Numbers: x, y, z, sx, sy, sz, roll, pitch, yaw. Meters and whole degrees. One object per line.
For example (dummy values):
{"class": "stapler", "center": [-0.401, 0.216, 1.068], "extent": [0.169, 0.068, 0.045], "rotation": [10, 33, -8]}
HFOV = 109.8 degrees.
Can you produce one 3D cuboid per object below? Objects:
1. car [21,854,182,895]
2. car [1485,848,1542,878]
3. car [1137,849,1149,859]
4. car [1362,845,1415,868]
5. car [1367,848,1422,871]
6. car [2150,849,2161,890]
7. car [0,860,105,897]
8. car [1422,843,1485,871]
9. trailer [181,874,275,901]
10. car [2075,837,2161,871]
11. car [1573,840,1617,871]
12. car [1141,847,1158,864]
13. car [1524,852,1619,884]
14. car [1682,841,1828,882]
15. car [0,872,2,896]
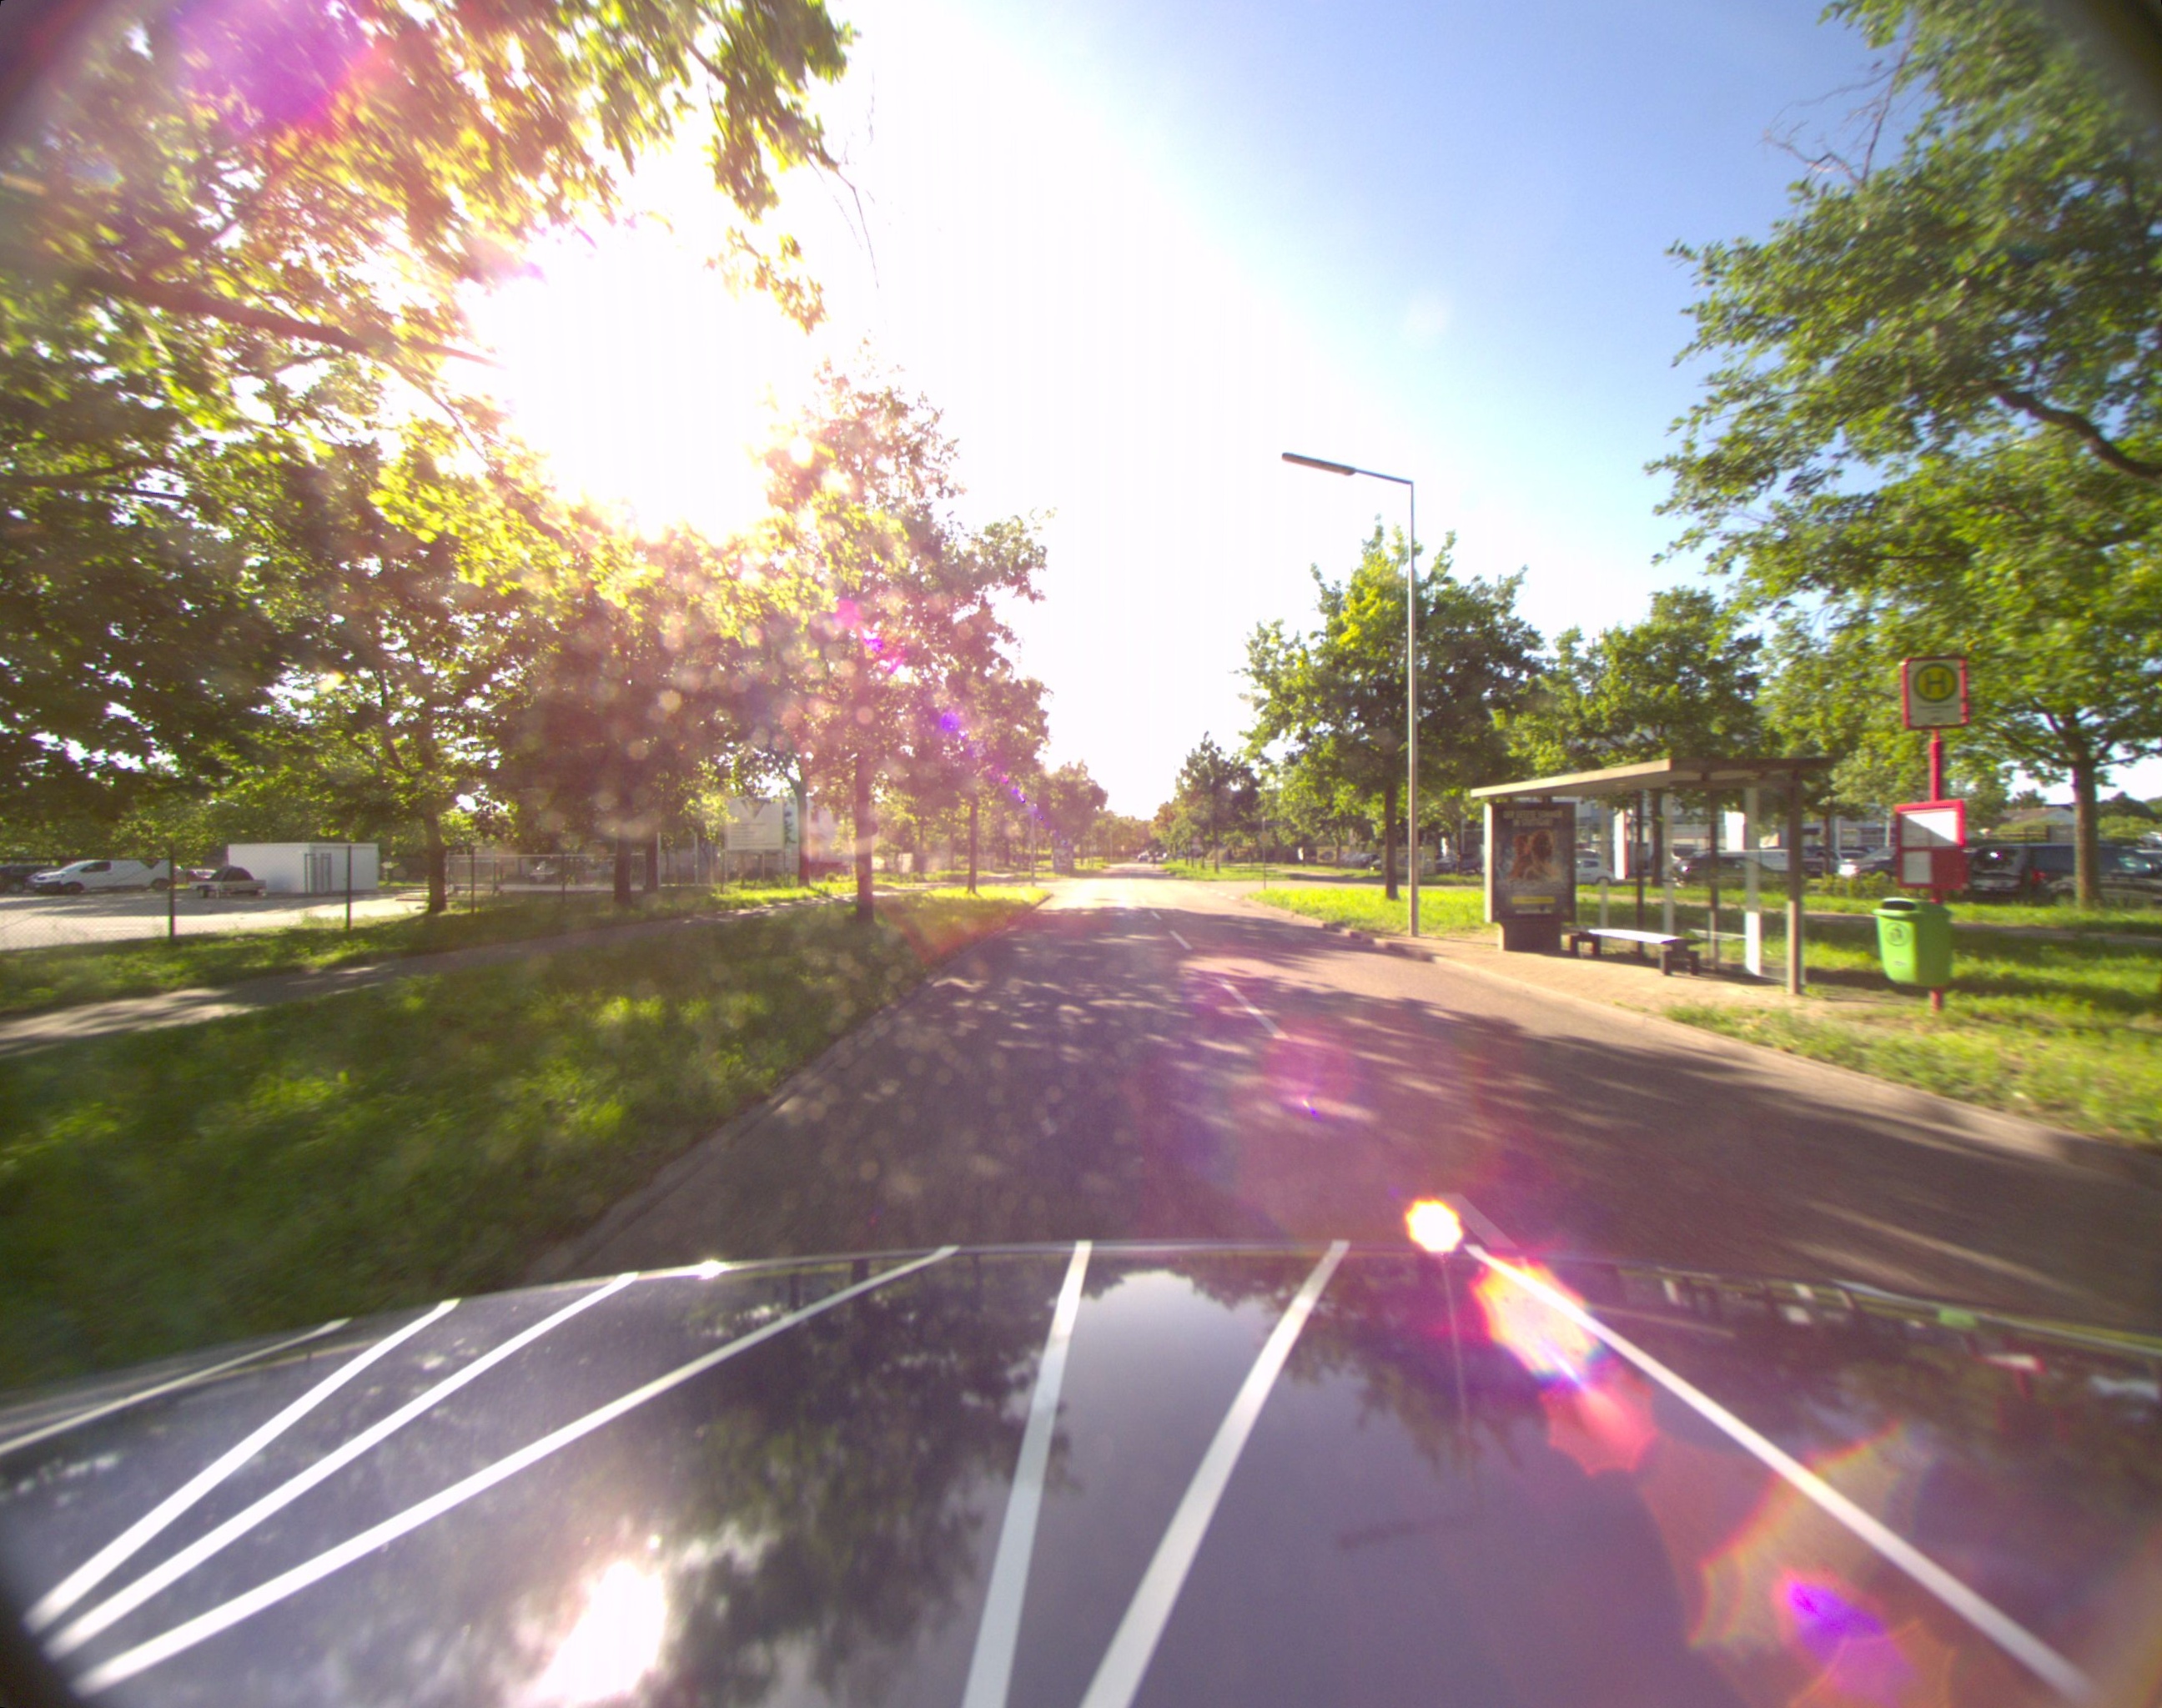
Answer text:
{"class": "car", "center": [-55.125, 1.103, 42.930], "extent": [1.996, 2.002, 5.121], "rotation": [-2, 1, 17]}
{"class": "car", "center": [28.839, 0.576, 50.607], "extent": [4.007, 1.827, 1.995], "rotation": [-3, 1, -40]}
{"class": "car", "center": [11.822, -0.017, 144.311], "extent": [1.997, 2.002, 4.002], "rotation": [-1, 0, 7]}
{"class": "car", "center": [26.644, 0.204, 65.778], "extent": [4.004, 1.827, 1.996], "rotation": [-3, 1, -23]}
{"class": "car", "center": [25.935, 0.415, 62.911], "extent": [4.005, 1.827, 1.996], "rotation": [-1, 0, -23]}
{"class": "car", "center": [49.674, 0.633, 32.620], "extent": [3.992, 1.827, 2.002], "rotation": [-2, 1, 18]}
{"class": "car", "center": [-62.034, 1.434, 45.416], "extent": [1.996, 2.002, 4.005], "rotation": [-2, 1, 19]}
{"class": "car", "center": [27.435, 0.210, 55.956], "extent": [4.004, 1.827, 1.996], "rotation": [-3, 1, -23]}
{"class": "trailer", "center": [-42.102, 1.629, 37.535], "extent": [3.589, 1.259, 1.733], "rotation": [-1, 0, 17]}
{"class": "car", "center": [57.335, -0.053, 41.420], "extent": [1.996, 1.672, 4.005], "rotation": [-2, 1, 21]}
{"class": "car", "center": [33.068, 0.076, 48.833], "extent": [1.994, 1.827, 4.007], "rotation": [-2, 1, 38]}
{"class": "car", "center": [8.366, 0.142, 92.436], "extent": [1.997, 2.002, 4.002], "rotation": [-1, 0, 7]}
{"class": "car", "center": [25.857, 0.757, 40.206], "extent": [3.885, 1.493, 2.003], "rotation": [-2, 1, 21]}
{"class": "car", "center": [33.351, 0.367, 37.803], "extent": [5.039, 1.827, 2.003], "rotation": [-2, 1, 23]}
{"class": "car", "center": [-74.069, 2.092, 49.434], "extent": [1.895, 1.605, 4.005], "rotation": [-2, 1, 19]}
